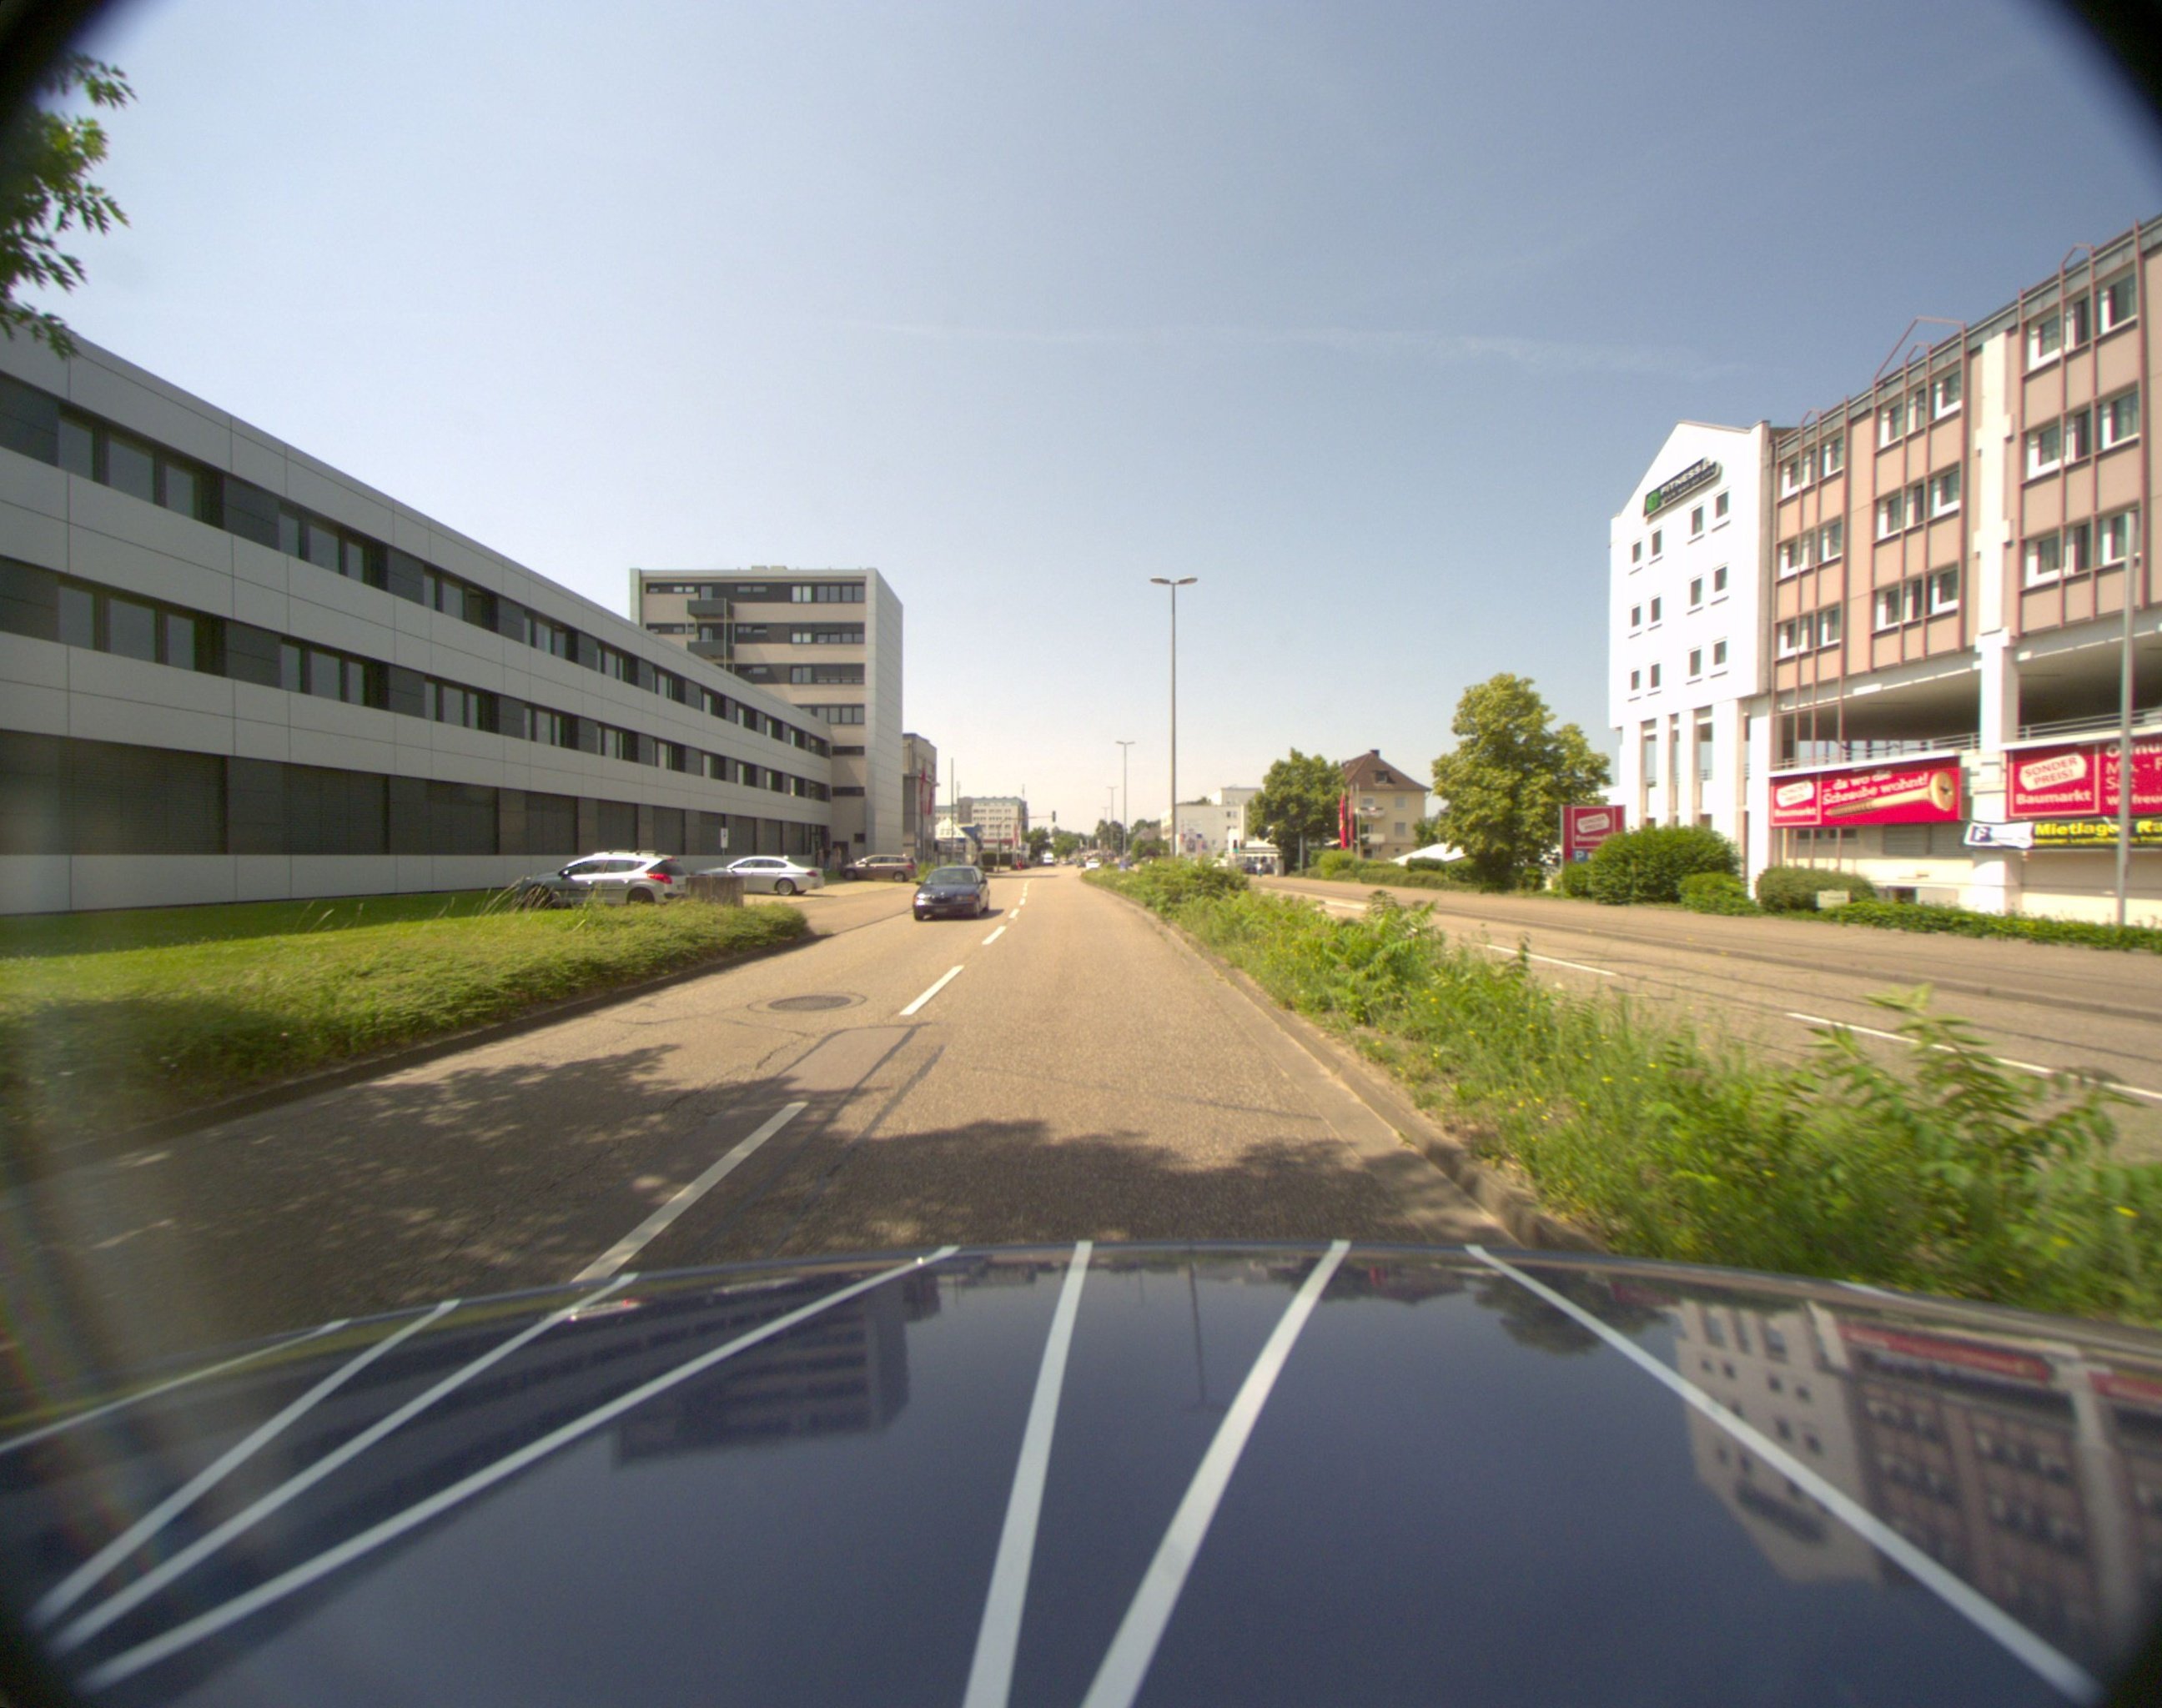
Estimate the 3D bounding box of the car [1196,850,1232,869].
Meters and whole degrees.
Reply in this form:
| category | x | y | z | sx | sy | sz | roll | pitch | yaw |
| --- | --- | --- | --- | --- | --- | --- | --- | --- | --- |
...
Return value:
| category | x | y | z | sx | sy | sz | roll | pitch | yaw |
| --- | --- | --- | --- | --- | --- | --- | --- | --- | --- |
| car | 18.499 | 0.756 | 105.867 | 4.556 | 1.699 | 1.760 | -12 | 0 | 7 |

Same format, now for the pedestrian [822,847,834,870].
| category | x | y | z | sx | sy | sz | roll | pitch | yaw |
| --- | --- | --- | --- | --- | --- | --- | --- | --- | --- |
| pedestrian | -17.904 | 0.312 | 53.726 | 0.594 | 1.625 | 0.523 | 1 | 0 | 9 |

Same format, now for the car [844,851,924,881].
| category | x | y | z | sx | sy | sz | roll | pitch | yaw |
| --- | --- | --- | --- | --- | --- | --- | --- | --- | --- |
| car | -11.588 | 0.674 | 44.896 | 4.271 | 1.679 | 1.999 | 1 | 1 | -3 |

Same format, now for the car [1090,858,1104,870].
| category | x | y | z | sx | sy | sz | roll | pitch | yaw |
| --- | --- | --- | --- | --- | --- | --- | --- | --- | --- |
| car | 2.066 | 1.269 | 98.040 | 1.693 | 1.425 | 3.711 | 0 | 0 | 1 |

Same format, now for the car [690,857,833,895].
| category | x | y | z | sx | sy | sz | roll | pitch | yaw |
| --- | --- | --- | --- | --- | --- | --- | --- | --- | --- |
| car | -12.115 | 0.823 | 29.047 | 4.626 | 1.382 | 1.999 | 0 | 0 | -4 |

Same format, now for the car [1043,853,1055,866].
| category | x | y | z | sx | sy | sz | roll | pitch | yaw |
| --- | --- | --- | --- | --- | --- | --- | --- | --- | --- |
| car | -7.163 | 1.185 | 170.579 | 2.183 | 2.757 | 7.278 | 2 | 0 | 0 |

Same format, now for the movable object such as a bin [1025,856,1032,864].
| category | x | y | z | sx | sy | sz | roll | pitch | yaw |
| --- | --- | --- | --- | --- | --- | --- | --- | --- | --- |
| movable object such as a bin | -9.821 | 1.063 | 141.595 | 1.133 | 1.461 | 1.489 | 0 | 0 | 2 |

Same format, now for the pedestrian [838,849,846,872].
| category | x | y | z | sx | sy | sz | roll | pitch | yaw |
| --- | --- | --- | --- | --- | --- | --- | --- | --- | --- |
| pedestrian | -17.260 | 0.502 | 54.976 | 0.523 | 1.653 | 0.756 | 0 | 0 | -17 |

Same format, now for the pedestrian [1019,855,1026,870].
| category | x | y | z | sx | sy | sz | roll | pitch | yaw |
| --- | --- | --- | --- | --- | --- | --- | --- | --- | --- |
| pedestrian | -7.688 | 1.112 | 99.343 | 0.787 | 1.836 | 0.936 | 0 | 0 | 3 |

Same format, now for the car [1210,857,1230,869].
| category | x | y | z | sx | sy | sz | roll | pitch | yaw |
| --- | --- | --- | --- | --- | --- | --- | --- | --- | --- |
| car | 16.923 | 1.102 | 92.815 | 1.780 | 1.402 | 4.760 | 1 | 0 | 2 |

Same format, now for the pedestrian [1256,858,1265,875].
| category | x | y | z | sx | sy | sz | roll | pitch | yaw |
| --- | --- | --- | --- | --- | --- | --- | --- | --- | --- |
| pedestrian | 19.125 | 1.303 | 80.976 | 0.742 | 1.737 | 1.034 | 0 | 0 | 3 |

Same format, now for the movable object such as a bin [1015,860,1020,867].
| category | x | y | z | sx | sy | sz | roll | pitch | yaw |
| --- | --- | --- | --- | --- | --- | --- | --- | --- | --- |
| movable object such as a bin | -8.230 | 1.264 | 98.164 | 0.552 | 0.914 | 0.653 | 3 | 1 | 2 |

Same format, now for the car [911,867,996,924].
| category | x | y | z | sx | sy | sz | roll | pitch | yaw |
| --- | --- | --- | --- | --- | --- | --- | --- | --- | --- |
| car | -3.367 | 1.051 | 20.712 | 1.632 | 1.331 | 3.757 | -1 | 0 | 1 |

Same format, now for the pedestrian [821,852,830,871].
| category | x | y | z | sx | sy | sz | roll | pitch | yaw |
| --- | --- | --- | --- | --- | --- | --- | --- | --- | --- |
| pedestrian | -18.414 | 0.529 | 54.792 | 0.523 | 1.397 | 0.799 | 1 | 0 | -9 |

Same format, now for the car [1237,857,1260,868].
| category | x | y | z | sx | sy | sz | roll | pitch | yaw |
| --- | --- | --- | --- | --- | --- | --- | --- | --- | --- |
| car | 20.185 | 1.019 | 91.762 | 1.737 | 1.343 | 3.999 | 0 | 0 | -2 |

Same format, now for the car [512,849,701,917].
| category | x | y | z | sx | sy | sz | roll | pitch | yaw |
| --- | --- | --- | --- | --- | --- | --- | --- | --- | --- |
| car | -12.476 | 0.738 | 20.163 | 3.823 | 1.583 | 1.732 | 3 | 0 | -4 |
